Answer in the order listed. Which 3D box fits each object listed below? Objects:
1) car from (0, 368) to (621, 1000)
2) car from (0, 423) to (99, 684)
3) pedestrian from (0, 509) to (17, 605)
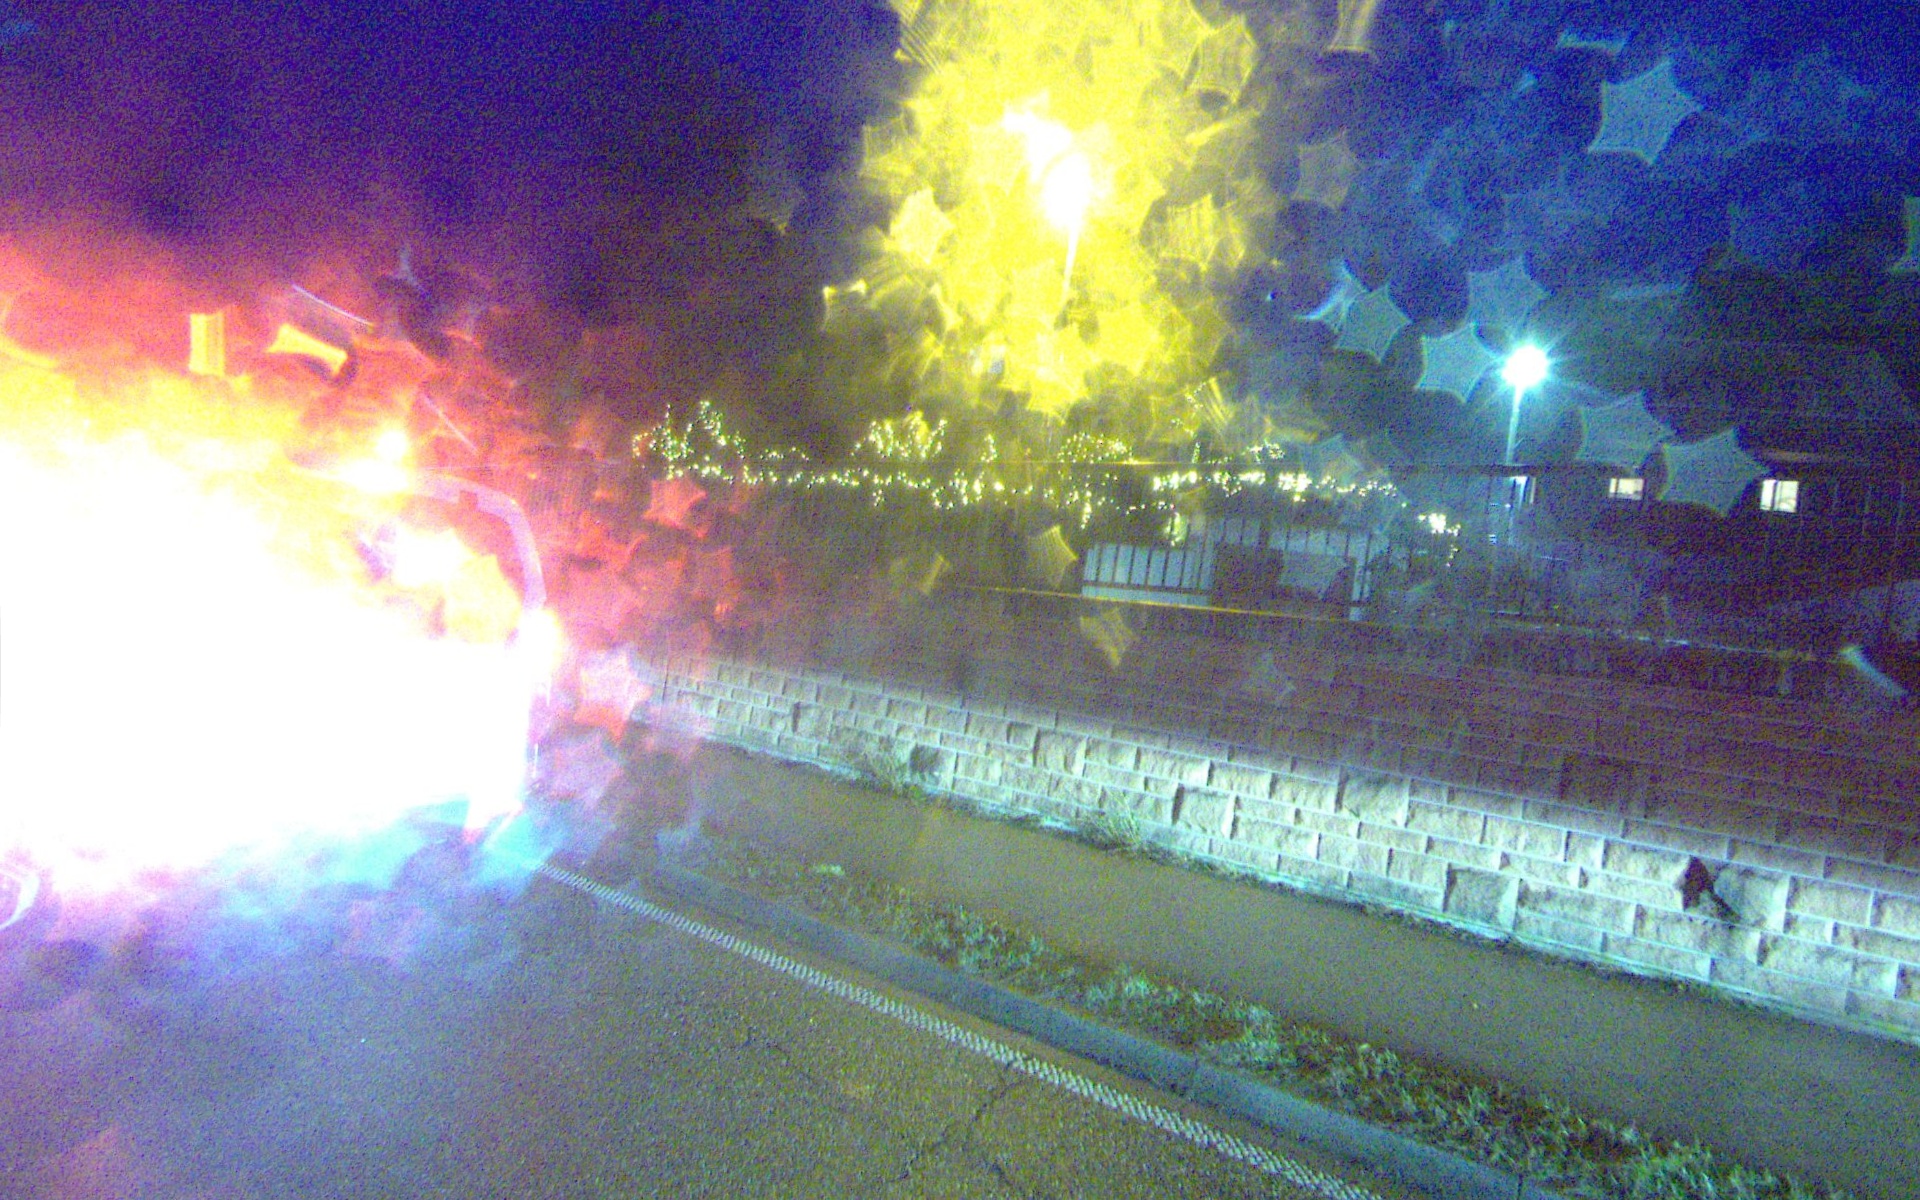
[{"bbox_3d":[-3.933,0.147,4.903,4.269,1.886,1.855,6,-2,32],"label":"car"},{"bbox_3d":[-9.599,-0.592,8.723,3.934,2.070,1.973,6,-2,32],"label":"car"},{"bbox_3d":[-17.629,-0.819,18.138,0.532,1.721,0.624,7,-1,29],"label":"pedestrian"}]
